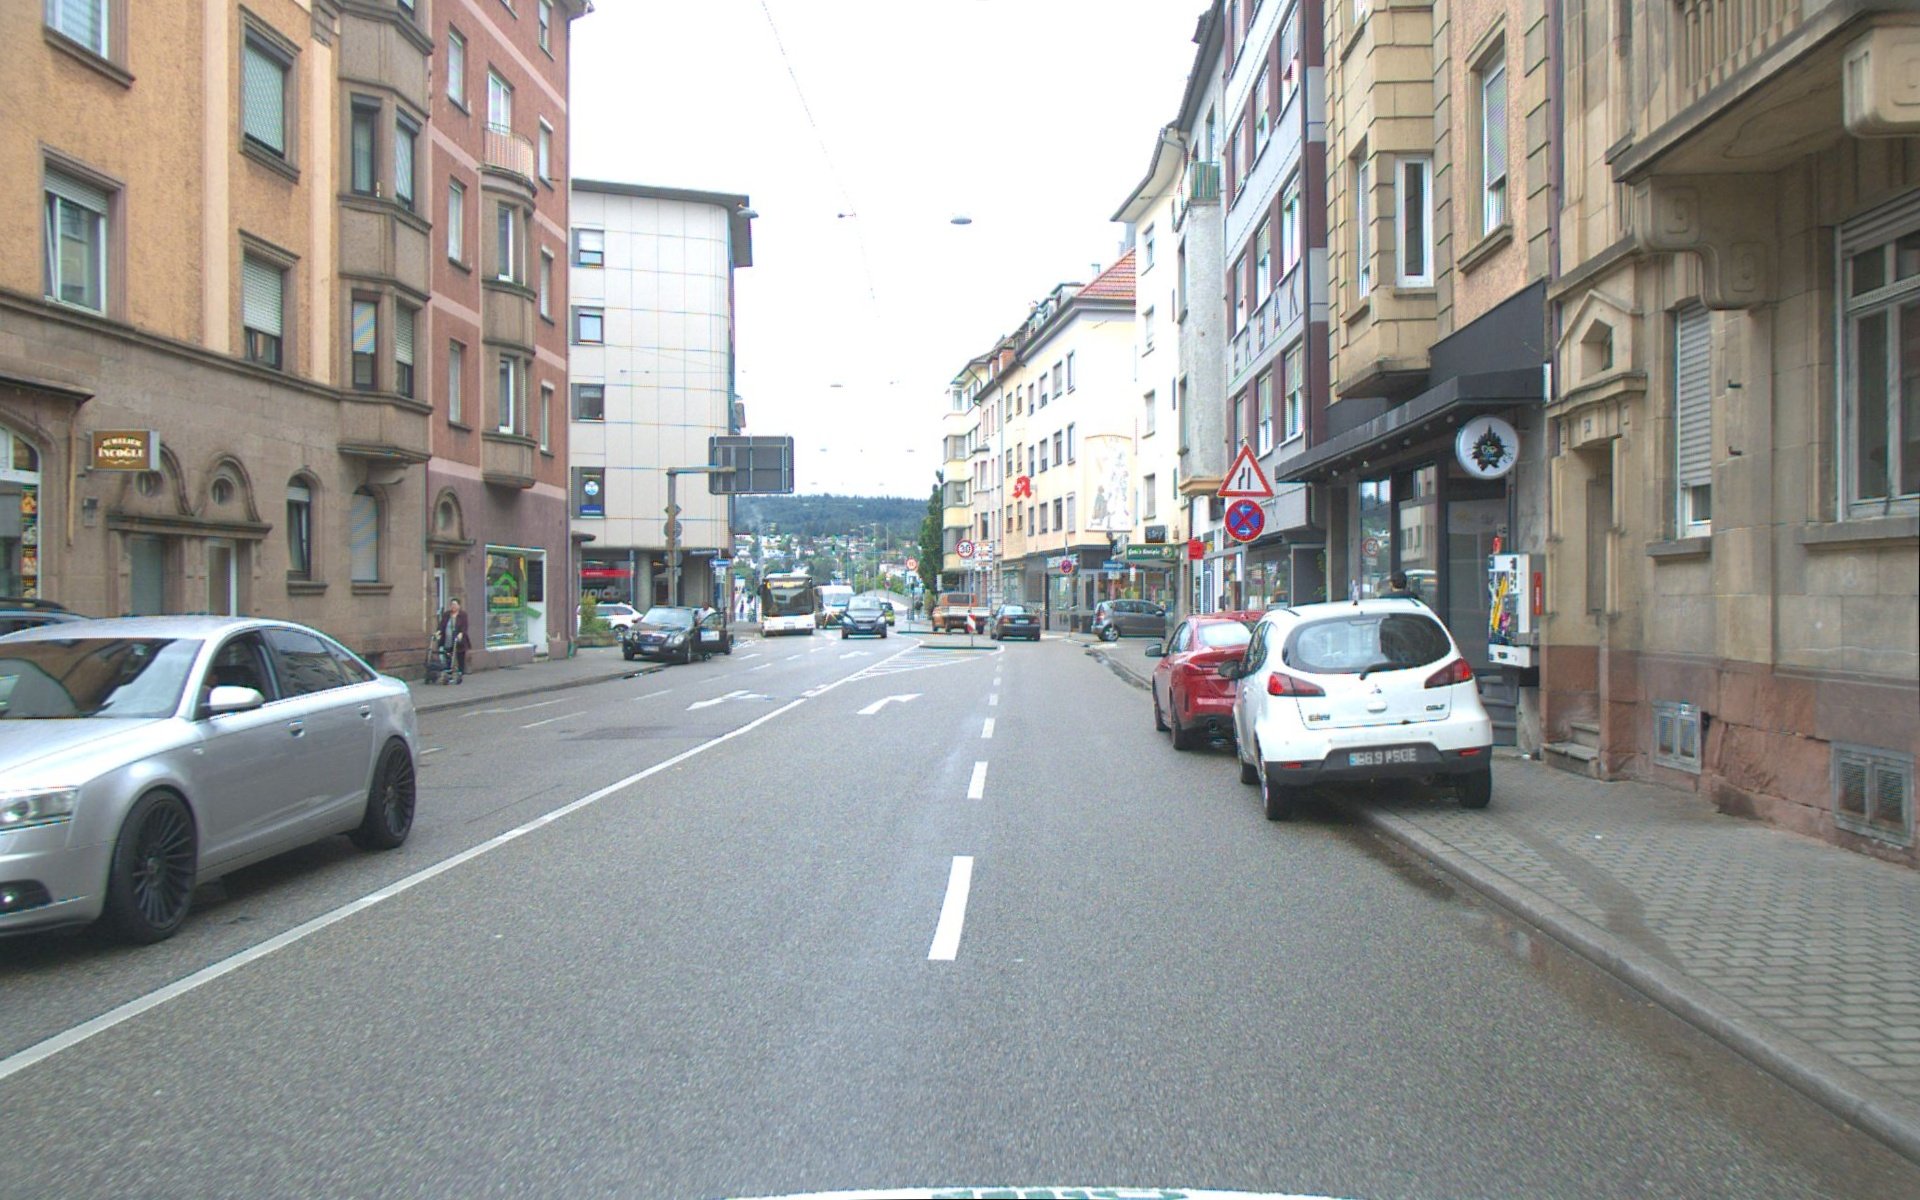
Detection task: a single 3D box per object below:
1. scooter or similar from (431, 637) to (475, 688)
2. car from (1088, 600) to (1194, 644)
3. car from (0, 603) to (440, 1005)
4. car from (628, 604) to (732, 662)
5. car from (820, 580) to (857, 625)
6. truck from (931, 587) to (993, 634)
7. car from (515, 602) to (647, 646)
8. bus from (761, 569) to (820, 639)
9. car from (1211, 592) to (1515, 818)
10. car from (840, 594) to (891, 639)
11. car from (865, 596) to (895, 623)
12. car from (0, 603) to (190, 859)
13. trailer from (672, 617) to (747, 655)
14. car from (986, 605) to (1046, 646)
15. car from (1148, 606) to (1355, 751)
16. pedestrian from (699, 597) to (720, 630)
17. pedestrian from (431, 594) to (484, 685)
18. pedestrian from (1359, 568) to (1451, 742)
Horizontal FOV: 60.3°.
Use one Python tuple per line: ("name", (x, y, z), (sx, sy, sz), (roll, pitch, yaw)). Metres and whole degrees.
("scooter or similar", (-9.481, 1.167, 30.941), (0.699, 0.941, 0.479), (1, -1, -11))
("car", (6.933, 0.844, 63.524), (3.750, 1.601, 1.934), (-1, -1, -5))
("car", (-4.385, 0.799, 8.469), (1.903, 1.496, 4.560), (-1, -1, 1))
("car", (-7.600, 0.866, 45.312), (1.811, 1.422, 4.794), (2, 0, 2))
("car", (-7.184, 0.176, 97.422), (2.045, 2.478, 6.346), (-1, -1, -5))
("truck", (0.067, 0.528, 80.347), (2.354, 2.167, 5.306), (-1, -1, -7))
("car", (-14.293, 0.899, 62.393), (4.573, 1.559, 1.889), (-1, -1, -27))
("bus", (-8.499, 0.248, 82.431), (2.706, 3.244, 8.898), (-1, -1, -7))
("car", (3.100, 0.739, 13.579), (1.613, 1.520, 4.450), (-1, -1, 3))
("car", (-3.781, 0.668, 65.647), (1.721, 1.680, 4.299), (-1, -1, -7))
("car", (-5.286, 0.635, 109.238), (1.721, 1.680, 3.994), (-1, -1, -7))
("car", (-7.079, 0.854, 10.654), (1.939, 1.623, 4.340), (-1, -1, 4))
("trailer", (-7.432, 1.047, 49.301), (1.555, 0.965, 3.057), (4, 0, 3))
("car", (2.154, 0.979, 64.662), (1.721, 1.505, 3.994), (-1, -1, -7))
("car", (3.225, 0.812, 19.068), (1.708, 1.393, 4.315), (-1, 0, 1))
("pedestrian", (-12.389, 0.659, 81.786), (0.927, 1.617, 0.834), (-1, -1, -5))
("pedestrian", (-9.580, 0.751, 31.552), (0.827, 1.708, 0.851), (2, -1, -11))
("pedestrian", (4.757, 0.580, 17.728), (0.729, 1.810, 0.795), (-1, -1, -1))
